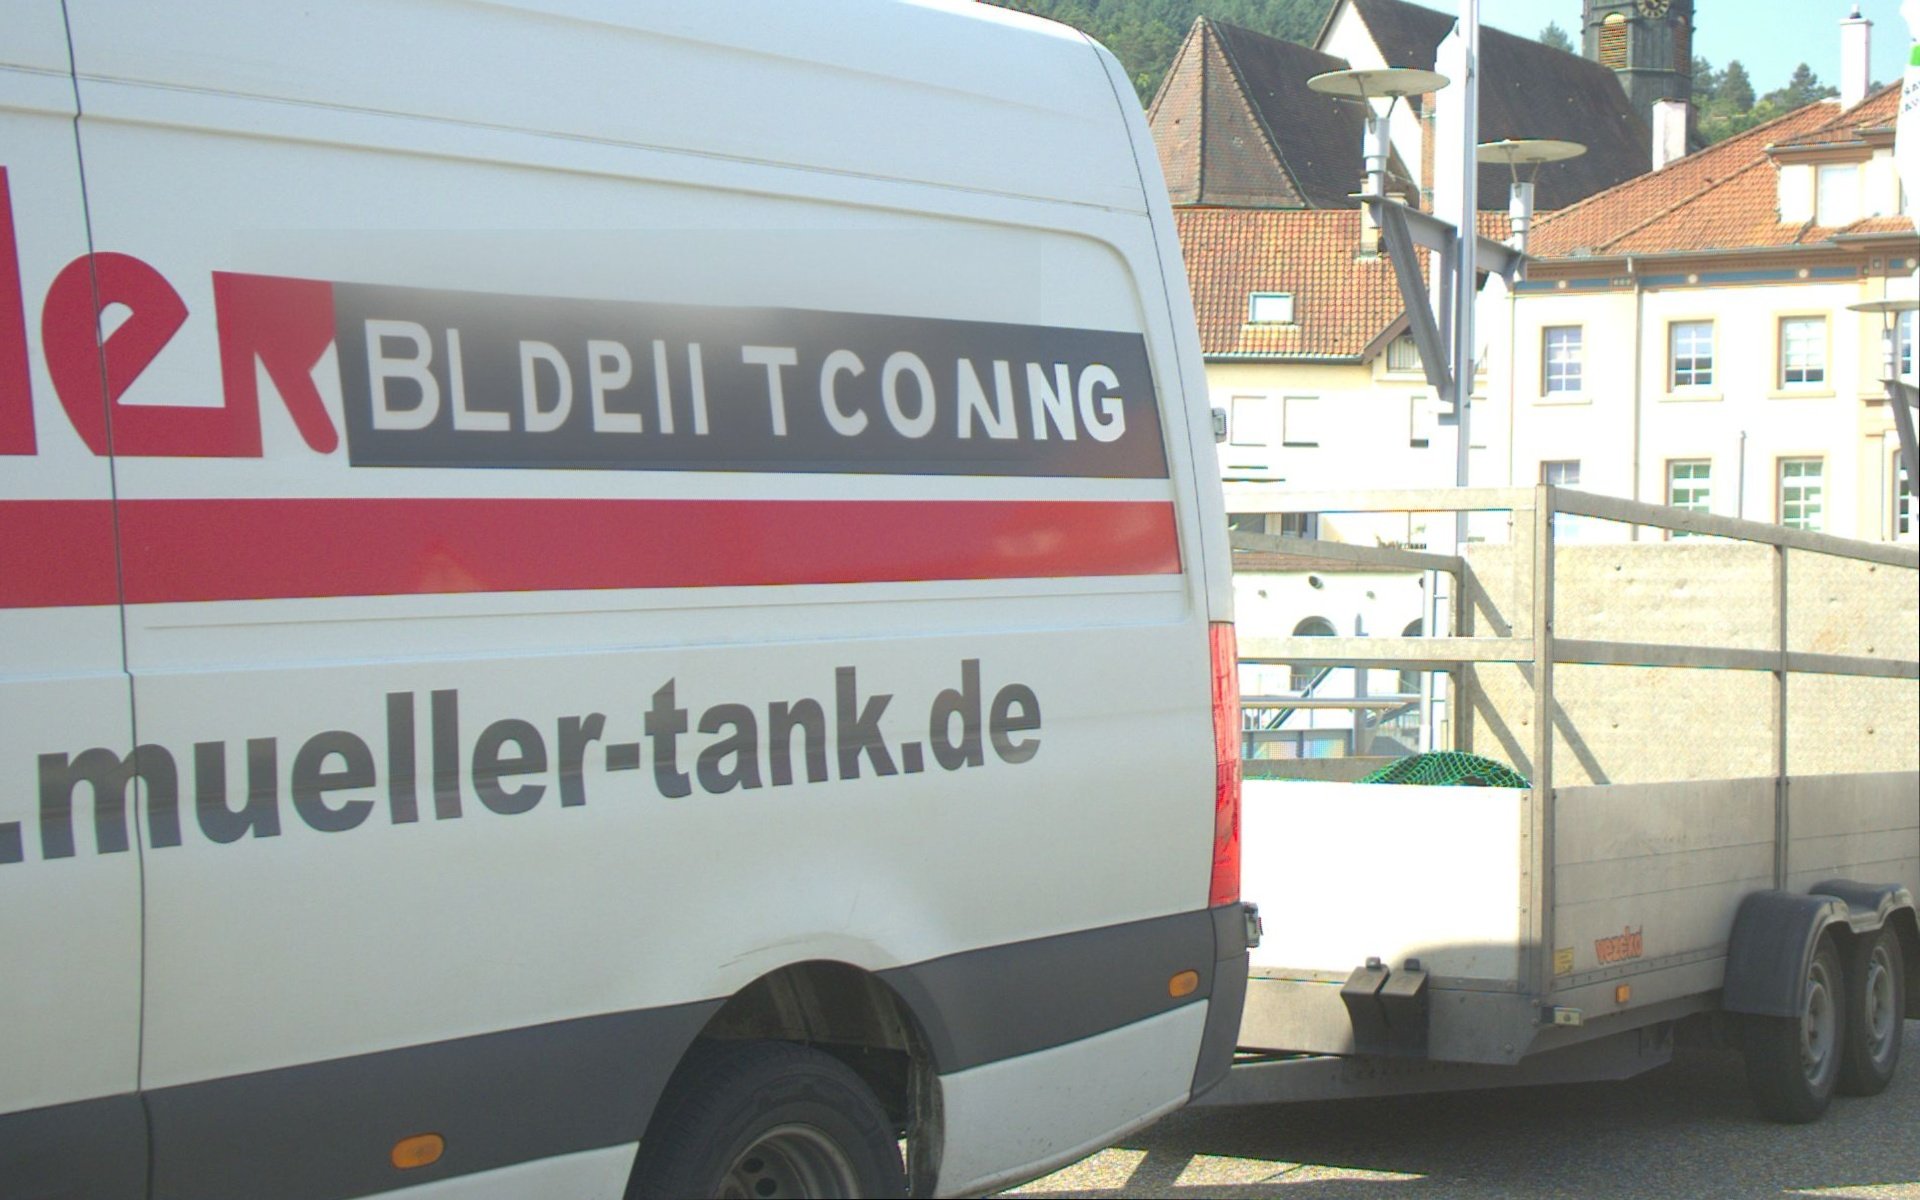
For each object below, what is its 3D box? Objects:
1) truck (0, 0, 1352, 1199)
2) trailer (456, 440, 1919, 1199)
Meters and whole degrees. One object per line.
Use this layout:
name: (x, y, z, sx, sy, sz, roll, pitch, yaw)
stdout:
truck: (-2.135, 0.112, 4.955, 2.109, 2.690, 7.118, 0, 1, 36)
trailer: (1.430, 0.597, 10.322, 2.616, 1.821, 5.625, 0, -1, 36)
